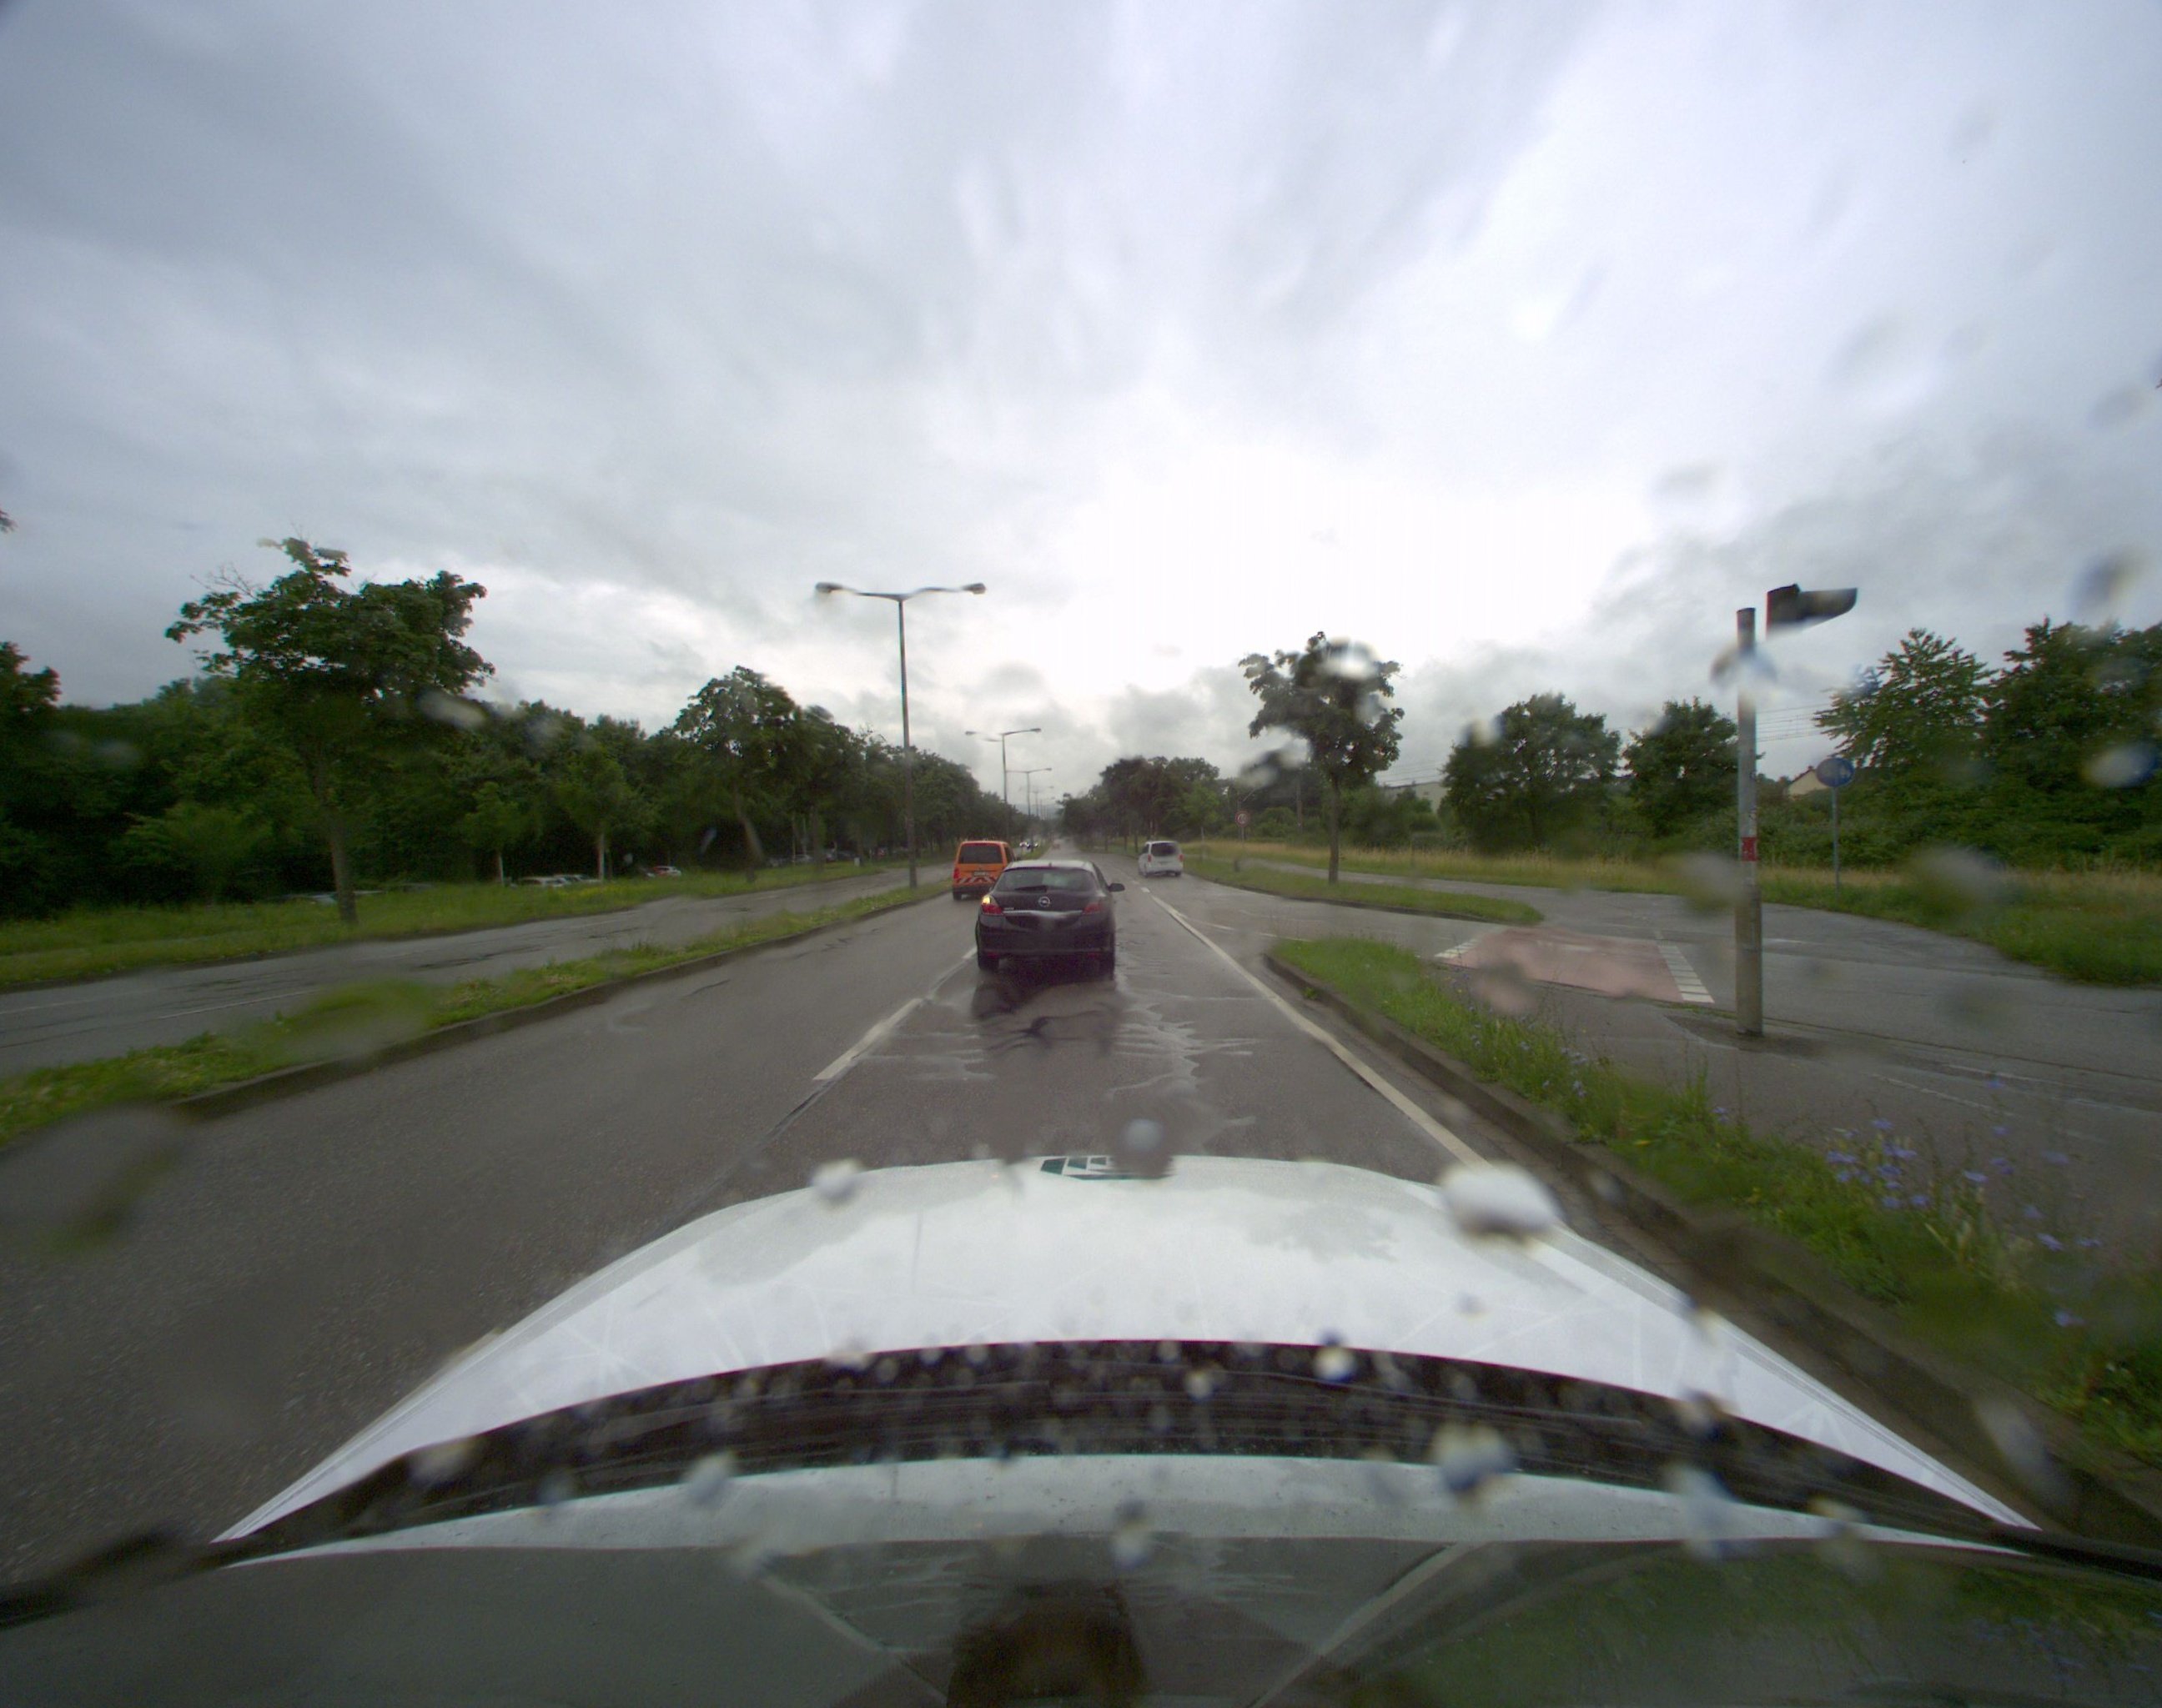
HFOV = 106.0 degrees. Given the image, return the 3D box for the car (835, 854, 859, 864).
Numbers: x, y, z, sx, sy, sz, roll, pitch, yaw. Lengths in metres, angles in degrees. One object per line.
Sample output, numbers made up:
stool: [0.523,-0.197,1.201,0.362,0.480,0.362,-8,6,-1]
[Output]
car: [-39.341,0.848,137.143,3.843,1.452,1.517,-2,1,-16]

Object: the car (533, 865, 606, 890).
car: [-37.366,1.728,59.561,3.981,1.618,1.997,-2,0,-5]

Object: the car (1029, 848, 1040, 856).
car: [-8.875,-0.418,155.375,1.821,1.450,3.809,-2,1,0]

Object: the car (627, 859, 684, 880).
car: [-37.485,1.336,71.861,3.981,1.640,1.908,-2,1,-5]

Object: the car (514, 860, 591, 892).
car: [-37.094,1.527,57.268,3.981,2.013,1.997,-2,1,-5]

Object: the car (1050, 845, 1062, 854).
car: [-5.132,-0.888,167.253,1.985,1.879,4.003,-1,0,3]

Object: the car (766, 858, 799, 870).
car: [-39.390,1.311,107.465,3.829,1.452,1.522,-2,1,-5]

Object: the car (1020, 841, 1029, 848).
car: [-13.074,-2.244,189.155,1.715,1.529,3.809,-2,2,0]

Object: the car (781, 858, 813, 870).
car: [-39.273,1.350,112.494,3.829,1.452,1.522,-2,1,-5]

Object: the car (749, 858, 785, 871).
car: [-39.396,1.304,102.273,3.829,1.452,1.522,-2,1,-5]

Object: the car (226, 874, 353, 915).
car: [-38.635,1.970,39.837,3.981,1.703,1.997,-2,1,-5]

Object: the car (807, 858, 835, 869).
car: [-39.830,1.449,124.887,3.829,1.452,1.522,-2,1,-5]

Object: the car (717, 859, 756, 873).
car: [-38.846,1.321,91.967,3.728,1.426,1.486,-2,1,-5]

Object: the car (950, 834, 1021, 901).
car: [-3.103,0.390,27.368,1.729,2.018,4.850,-1,0,1]

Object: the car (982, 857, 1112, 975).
car: [-0.327,0.733,11.338,1.457,1.329,3.760,-1,0,3]

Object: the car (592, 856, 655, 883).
car: [-37.513,1.231,66.854,3.981,2.013,1.997,-2,1,-5]

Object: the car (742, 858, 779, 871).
car: [-39.182,1.288,99.600,3.829,1.452,1.522,-2,1,-5]

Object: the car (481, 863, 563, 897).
car: [-37.440,1.729,54.609,3.981,2.013,1.997,-2,1,-5]

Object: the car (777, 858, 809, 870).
car: [-38.931,1.333,110.083,3.829,1.452,1.522,-2,1,-5]

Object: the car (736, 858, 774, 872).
car: [-38.847,1.303,97.165,3.829,1.452,1.522,-2,1,-5]

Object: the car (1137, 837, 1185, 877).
car: [4.168,0.145,43.173,2.053,1.974,4.607,-1,0,-1]

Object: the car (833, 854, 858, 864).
car: [-39.135,0.855,135.337,3.843,1.452,1.517,-2,1,-16]
